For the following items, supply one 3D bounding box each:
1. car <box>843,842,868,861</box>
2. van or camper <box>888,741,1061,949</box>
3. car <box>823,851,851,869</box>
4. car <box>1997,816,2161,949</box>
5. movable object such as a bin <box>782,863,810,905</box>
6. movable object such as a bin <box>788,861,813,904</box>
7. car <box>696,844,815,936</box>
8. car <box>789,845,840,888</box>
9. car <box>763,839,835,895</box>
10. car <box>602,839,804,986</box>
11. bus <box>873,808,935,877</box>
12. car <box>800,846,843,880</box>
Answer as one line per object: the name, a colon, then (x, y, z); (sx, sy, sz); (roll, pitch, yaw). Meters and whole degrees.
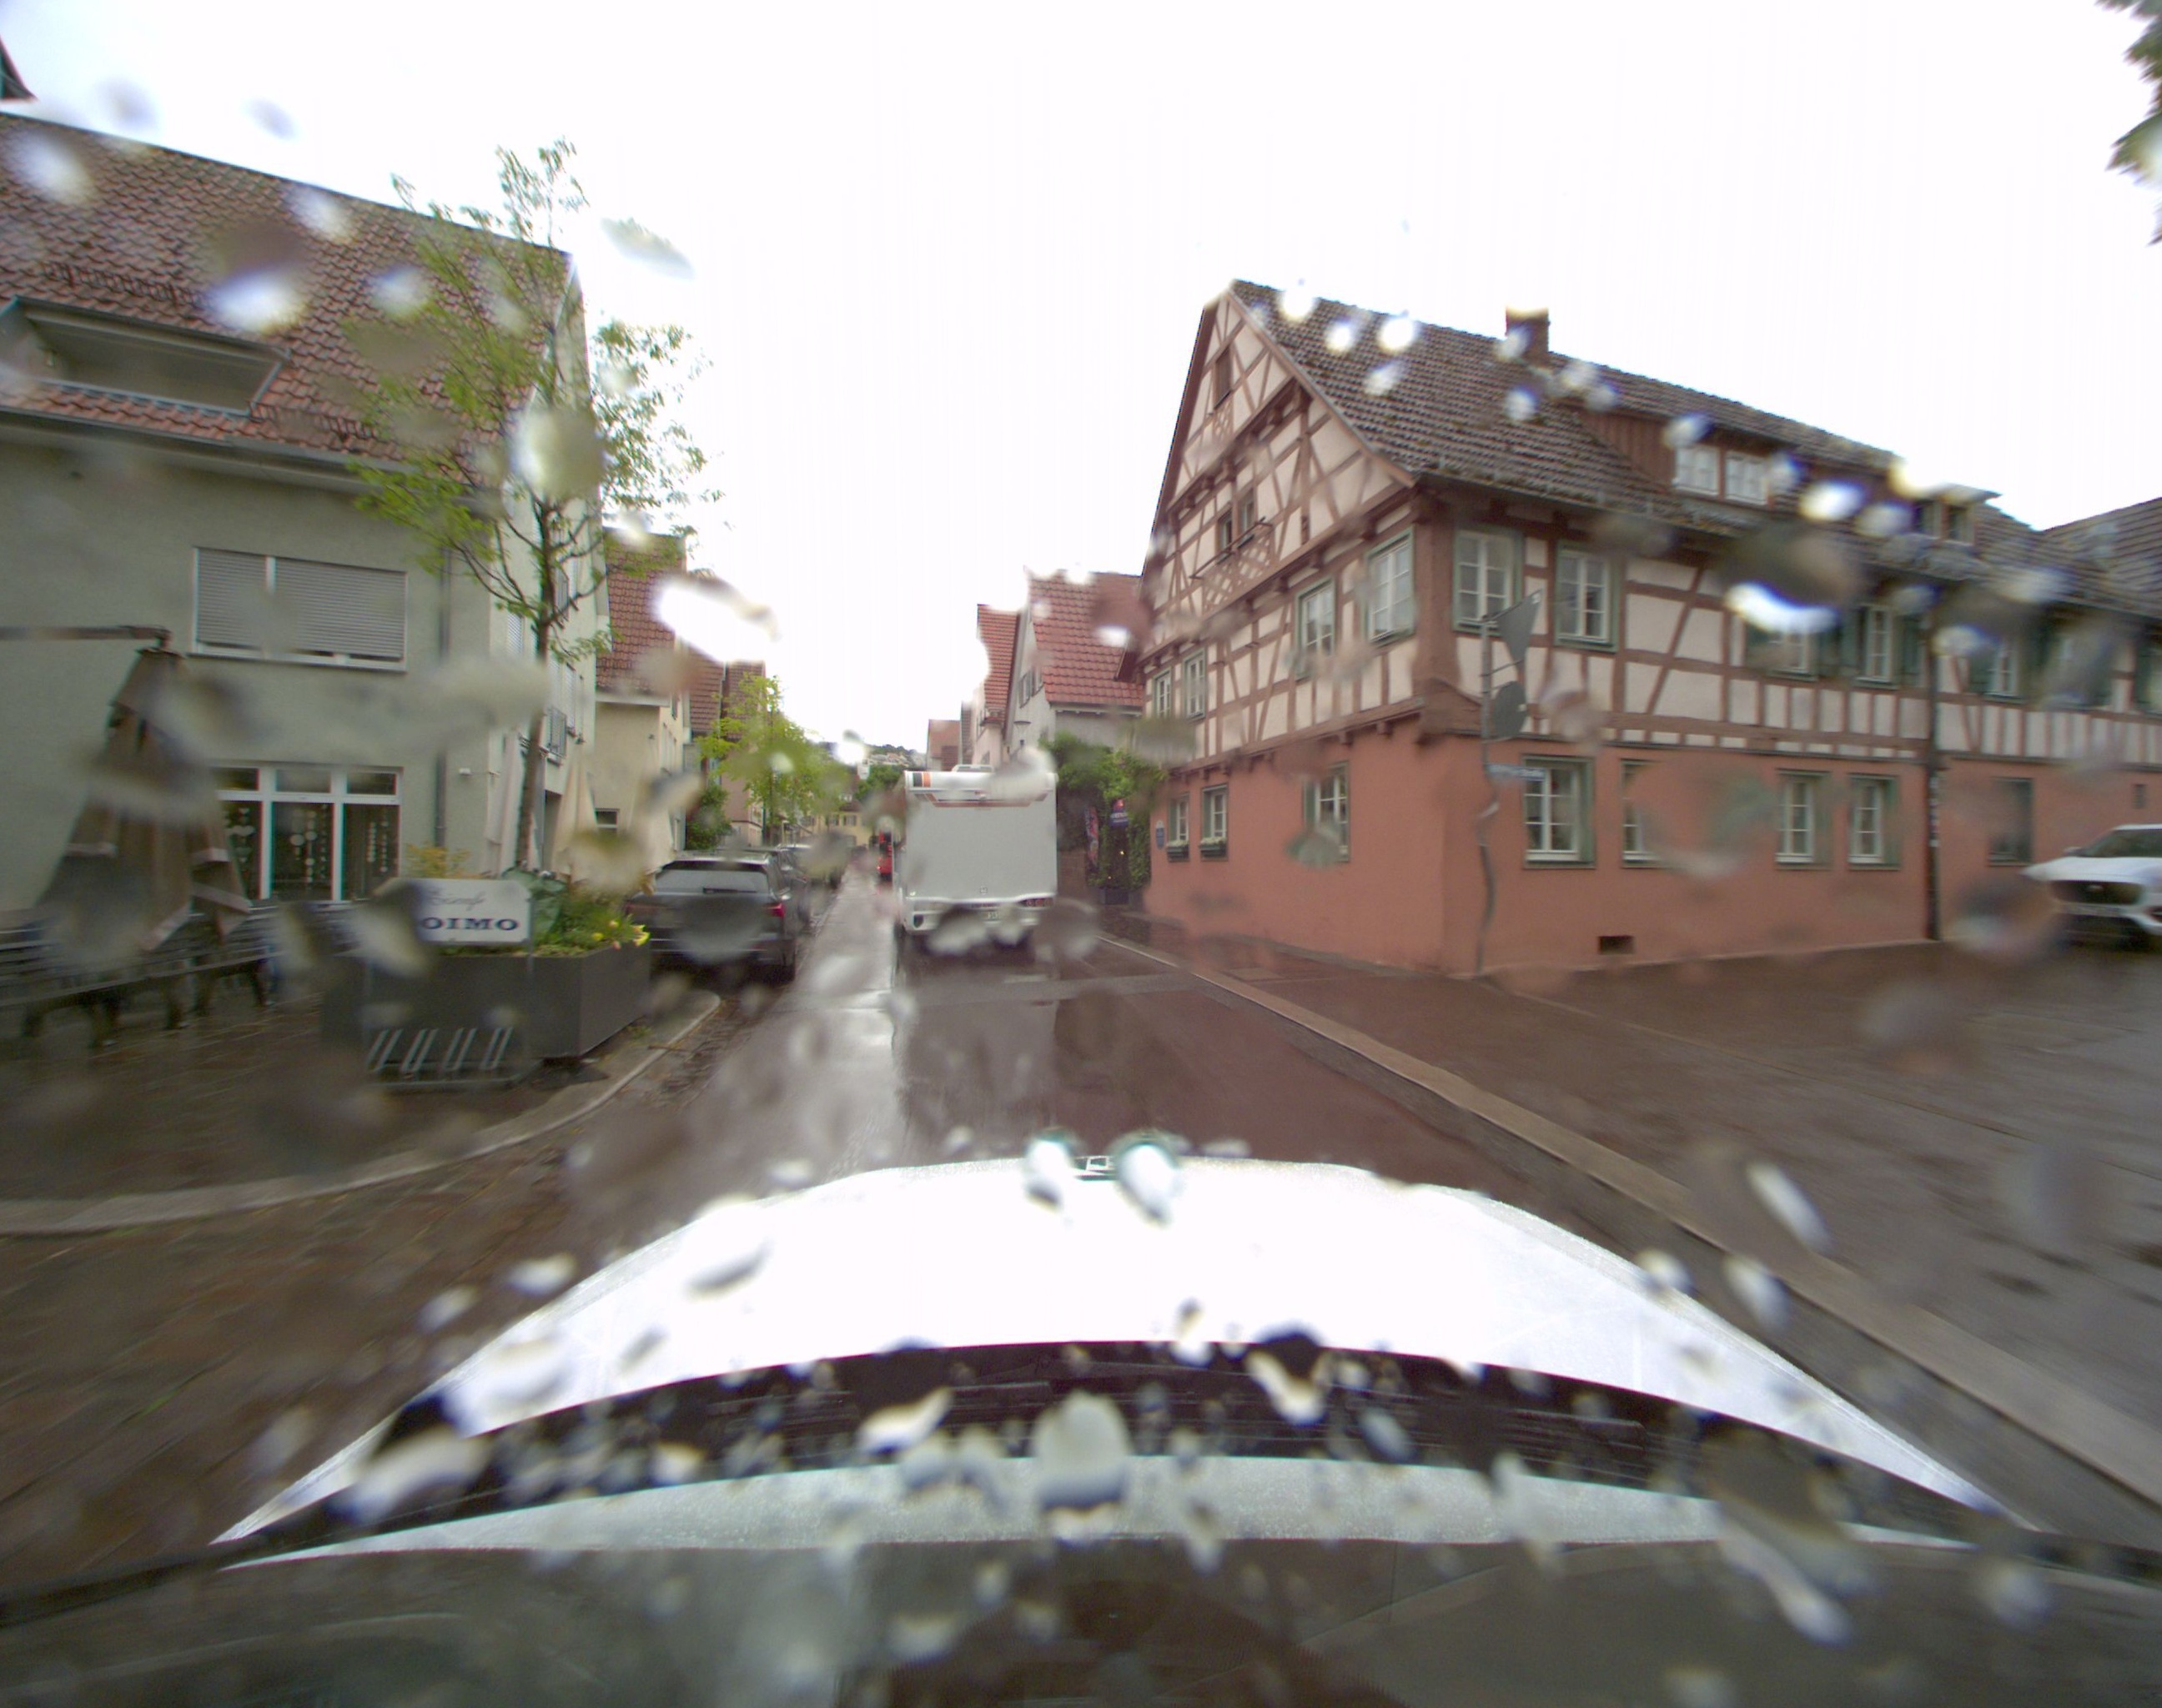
car: (-25.238, -0.284, 91.006); (2.004, 2.014, 3.965); (0, -1, -27)
van or camper: (-2.234, -0.095, 14.816); (2.330, 2.919, 6.360); (0, -1, -15)
car: (-21.184, 0.502, 70.609); (2.001, 1.472, 3.972); (1, 0, -21)
car: (15.166, 0.312, 11.086); (4.463, 1.631, 1.934); (0, 2, -18)
movable object such as a bin: (-7.460, 0.784, 21.321); (0.621, 1.079, 0.722); (0, -1, -13)
movable object such as a bin: (-8.040, 0.803, 23.337); (0.602, 1.201, 0.521); (0, -1, -12)
car: (-6.208, 0.636, 15.929); (1.595, 1.546, 3.958); (0, -1, -14)
car: (-10.994, 0.518, 33.852); (1.837, 1.675, 4.515); (0, -1, -16)
car: (-9.196, 0.426, 26.879); (1.774, 1.675, 4.458); (1, -1, -14)
car: (-4.551, 0.585, 10.427); (1.807, 1.432, 4.597); (2, 0, -19)
bus: (-9.232, -0.504, 41.965); (2.647, 3.227, 6.565); (0, -1, -16)
car: (-12.558, 0.458, 39.561); (1.837, 1.552, 4.258); (0, -1, -16)
